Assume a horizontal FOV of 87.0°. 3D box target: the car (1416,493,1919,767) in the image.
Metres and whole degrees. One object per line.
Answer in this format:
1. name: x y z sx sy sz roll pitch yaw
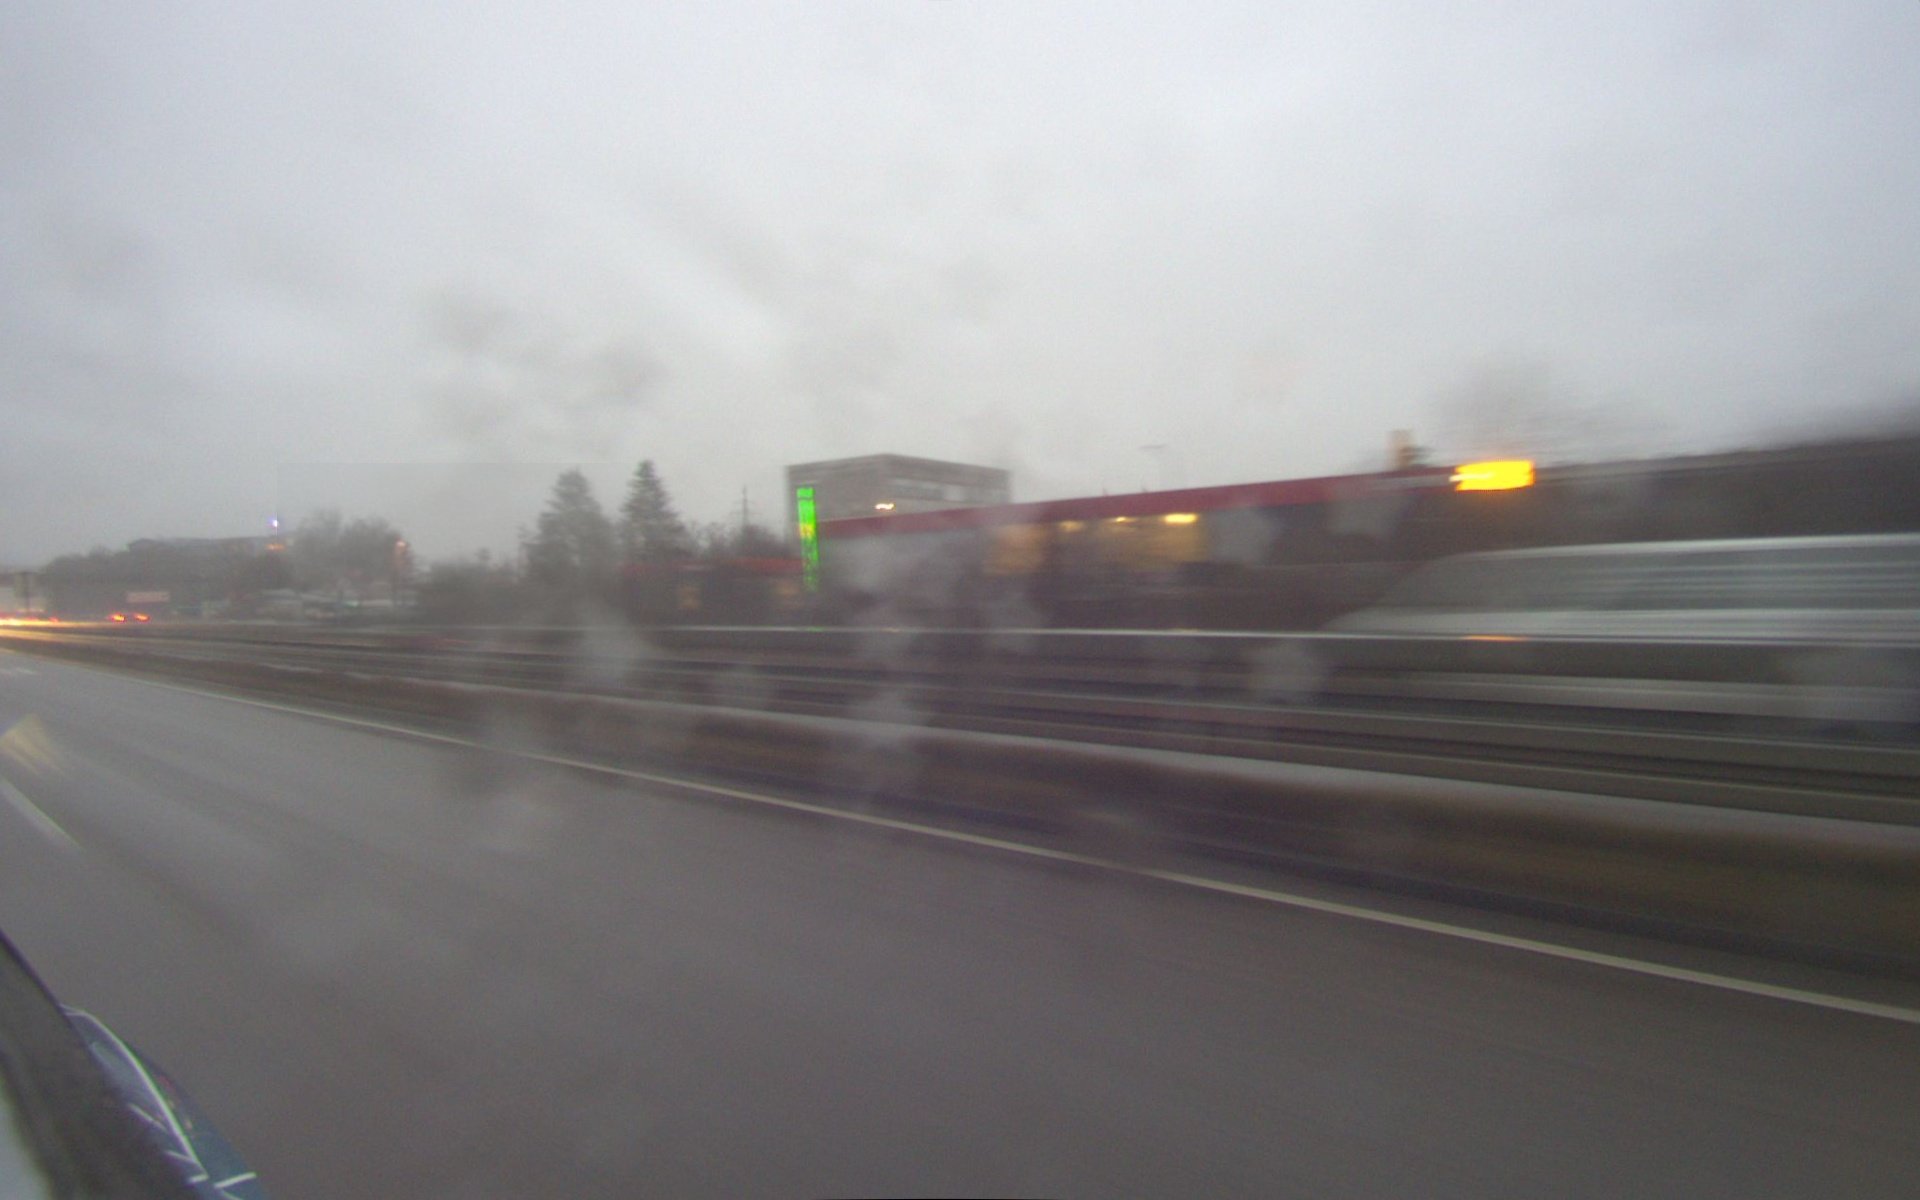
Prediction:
1. car: 7.548 0.163 10.335 4.887 2.313 1.907 3 4 42

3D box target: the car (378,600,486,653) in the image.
1. car: -16.812 0.815 32.157 3.999 1.519 1.718 -1 1 42

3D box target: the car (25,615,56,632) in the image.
1. car: -85.970 2.164 94.595 3.999 1.519 1.718 -1 1 42

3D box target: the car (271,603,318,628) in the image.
1. car: -58.900 1.369 89.510 4.957 2.029 2.133 -1 1 40

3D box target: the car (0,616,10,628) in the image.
1. car: -125.423 2.919 132.086 3.999 1.519 1.718 -1 1 42

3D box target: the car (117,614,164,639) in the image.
1. car: -52.915 1.673 65.308 3.999 1.519 1.718 -1 1 42
